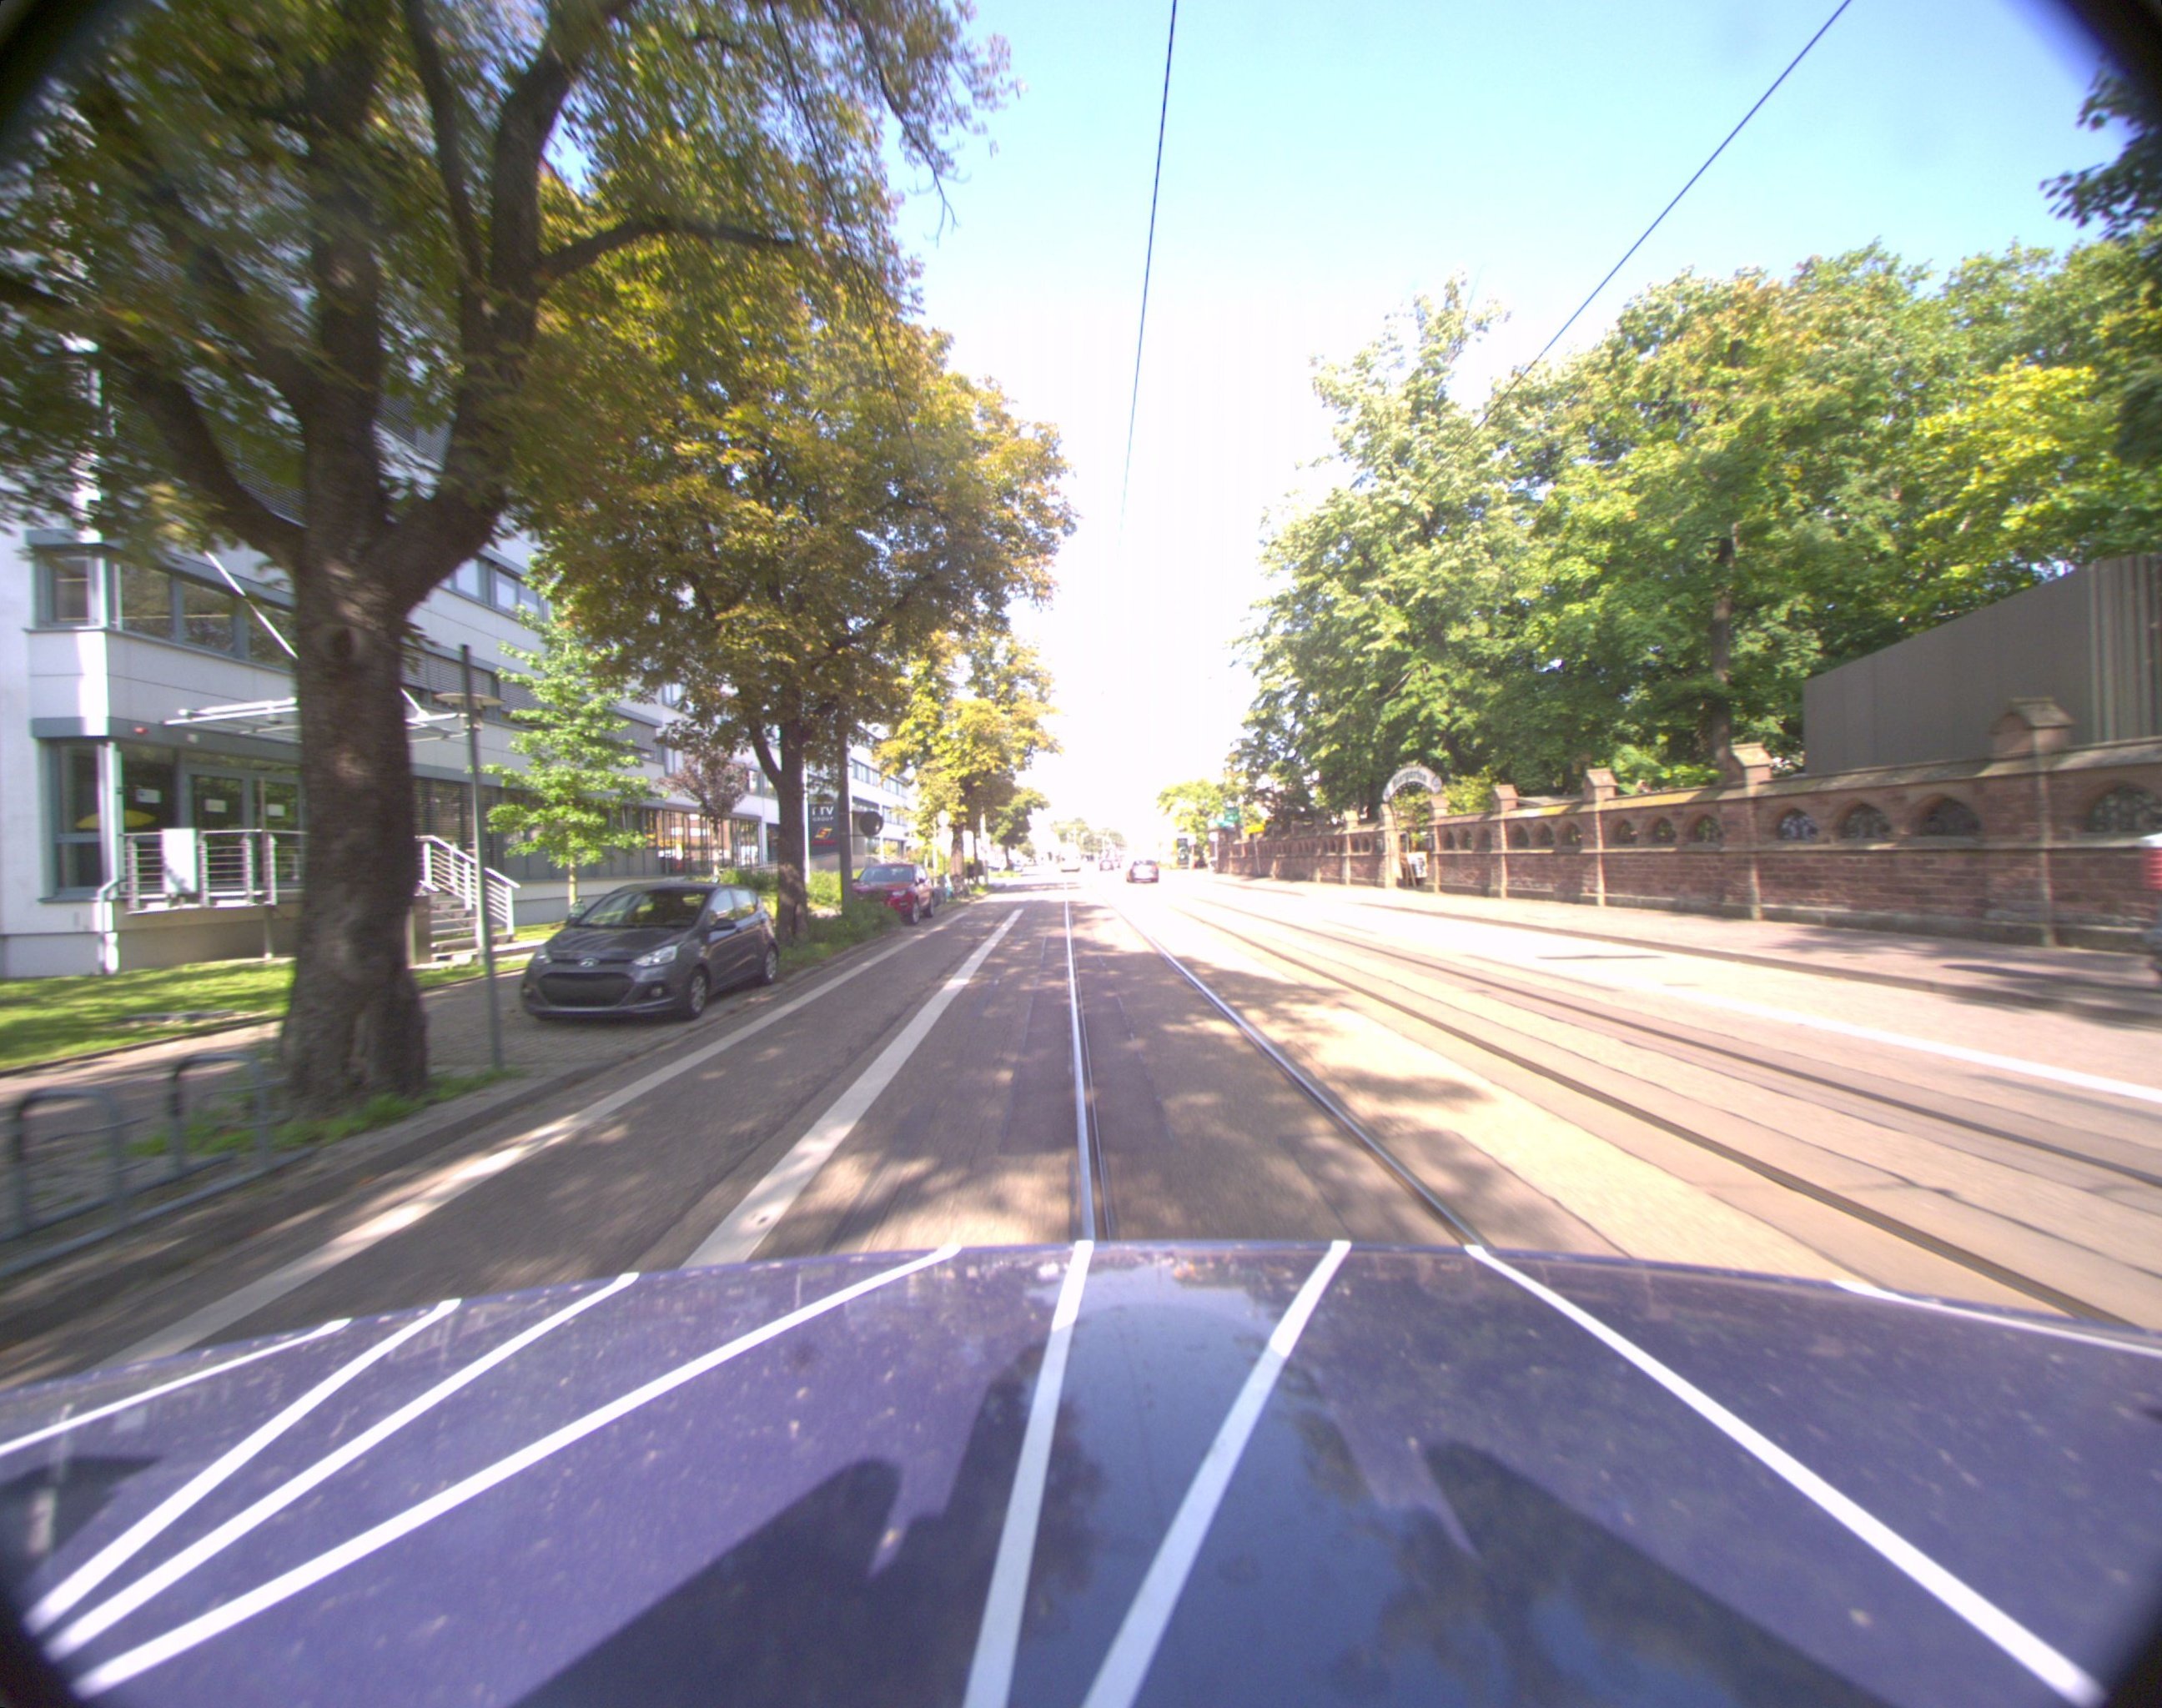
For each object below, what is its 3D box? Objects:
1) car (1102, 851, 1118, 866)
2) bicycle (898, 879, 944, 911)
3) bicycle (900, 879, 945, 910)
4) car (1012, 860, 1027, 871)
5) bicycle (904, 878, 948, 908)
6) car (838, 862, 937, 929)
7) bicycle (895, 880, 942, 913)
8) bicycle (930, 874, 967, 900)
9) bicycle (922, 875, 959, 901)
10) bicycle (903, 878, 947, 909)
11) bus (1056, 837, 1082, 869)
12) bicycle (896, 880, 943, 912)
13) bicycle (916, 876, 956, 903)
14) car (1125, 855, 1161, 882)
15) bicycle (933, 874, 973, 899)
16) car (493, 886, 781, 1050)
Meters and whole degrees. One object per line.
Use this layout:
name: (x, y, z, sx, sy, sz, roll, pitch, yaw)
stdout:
car: (3.541, 0.525, 92.915, 1.754, 1.718, 4.000, -2, 0, 2)
bicycle: (-5.428, 1.391, 25.807, 1.461, 1.009, 0.382, -2, 0, -4)
bicycle: (-5.468, 1.390, 26.233, 1.461, 1.009, 0.382, -2, 0, -4)
car: (-9.504, 1.758, 117.297, 1.755, 1.597, 4.000, -2, 0, 2)
bicycle: (-5.534, 1.388, 27.133, 1.461, 1.009, 0.382, -2, 0, -4)
car: (-5.295, 1.066, 21.333, 1.867, 1.643, 4.182, 0, 0, -2)
bicycle: (-5.332, 1.385, 24.972, 1.461, 1.009, 0.382, -2, 0, -4)
bicycle: (-5.551, 1.371, 31.827, 1.461, 1.009, 0.382, -2, 0, -4)
bicycle: (-5.790, 1.382, 31.343, 1.461, 1.009, 0.382, -2, 0, -4)
bicycle: (-5.473, 1.388, 26.686, 1.461, 1.009, 0.382, -2, 0, -4)
bus: (-1.425, -0.116, 96.680, 2.901, 3.771, 9.318, -2, 0, 1)
bicycle: (-5.395, 1.391, 25.394, 1.461, 1.009, 0.382, -2, 0, -4)
bicycle: (-5.737, 1.386, 30.079, 1.461, 1.009, 0.382, -2, 0, -4)
car: (3.688, 0.844, 45.461, 1.695, 1.433, 3.999, -2, 0, -1)
bicycle: (-5.420, 1.363, 32.307, 1.621, 1.009, 0.382, -2, 0, -4)
car: (-5.031, 1.188, 9.194, 1.567, 1.433, 3.563, 1, 0, -4)
